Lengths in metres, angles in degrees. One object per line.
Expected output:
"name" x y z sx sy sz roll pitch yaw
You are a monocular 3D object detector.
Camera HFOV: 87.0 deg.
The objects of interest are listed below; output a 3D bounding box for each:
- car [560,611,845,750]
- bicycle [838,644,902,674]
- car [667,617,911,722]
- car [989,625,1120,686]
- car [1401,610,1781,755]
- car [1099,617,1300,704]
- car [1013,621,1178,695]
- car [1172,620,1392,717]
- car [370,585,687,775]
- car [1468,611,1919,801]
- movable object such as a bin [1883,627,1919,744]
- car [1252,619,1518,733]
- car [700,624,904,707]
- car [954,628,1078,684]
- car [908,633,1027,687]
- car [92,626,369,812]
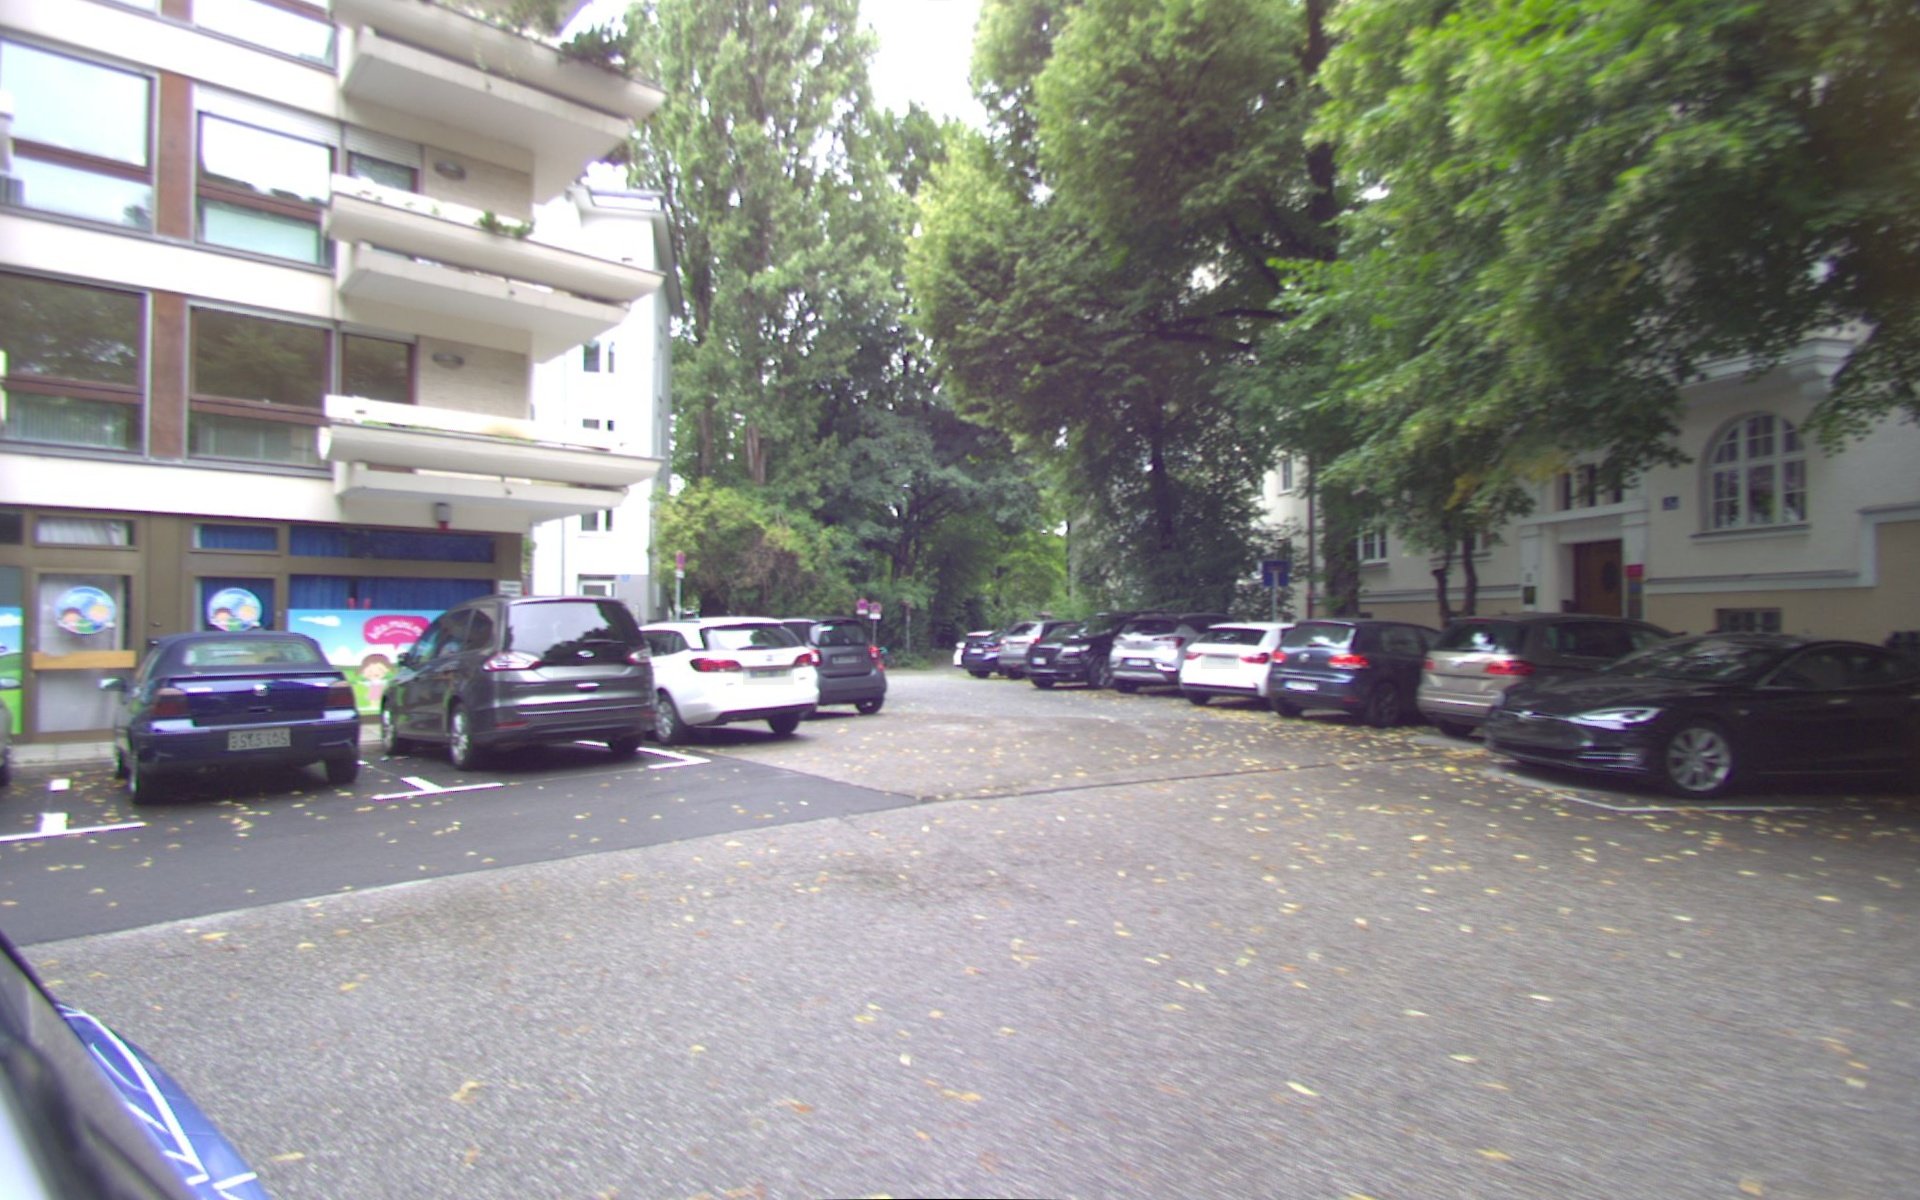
"car" -3.406 0.999 12.914 1.808 1.491 4.003 2 -5 -43
"bicycle" -3.578 2.342 40.244 2.430 1.126 0.827 1 -1 -10
"car" -2.856 1.132 16.406 3.998 1.491 1.810 -5 -5 42
"car" 2.657 1.446 27.682 1.722 1.489 3.948 0 -1 39
"car" 7.637 0.913 12.322 3.955 1.542 1.850 1 -1 -20
"car" 4.774 1.101 19.934 3.937 1.521 1.878 1 -1 -40
"car" 3.037 1.179 21.993 2.057 1.412 3.954 0 -1 33
"car" 5.534 1.075 17.193 3.937 1.442 1.727 1 -1 -40
"car" -4.921 0.832 11.210 1.874 1.697 4.237 1 -4 -43
"car" 7.170 0.940 9.343 4.218 1.478 1.714 3 0 -12
"movable object such as a bin" 11.859 1.009 11.819 1.137 1.359 1.157 0 0 -16
"car" 6.287 1.006 14.848 3.934 1.442 1.802 1 -1 -35
"car" -3.144 1.202 19.748 3.996 1.409 1.733 0 -1 39
"car" 1.720 1.611 30.077 1.722 1.489 3.948 0 -1 39
"car" 0.304 1.839 31.961 1.722 1.489 3.948 0 -1 39
"car" -7.081 1.009 9.654 1.691 1.378 4.076 1 -4 -42
